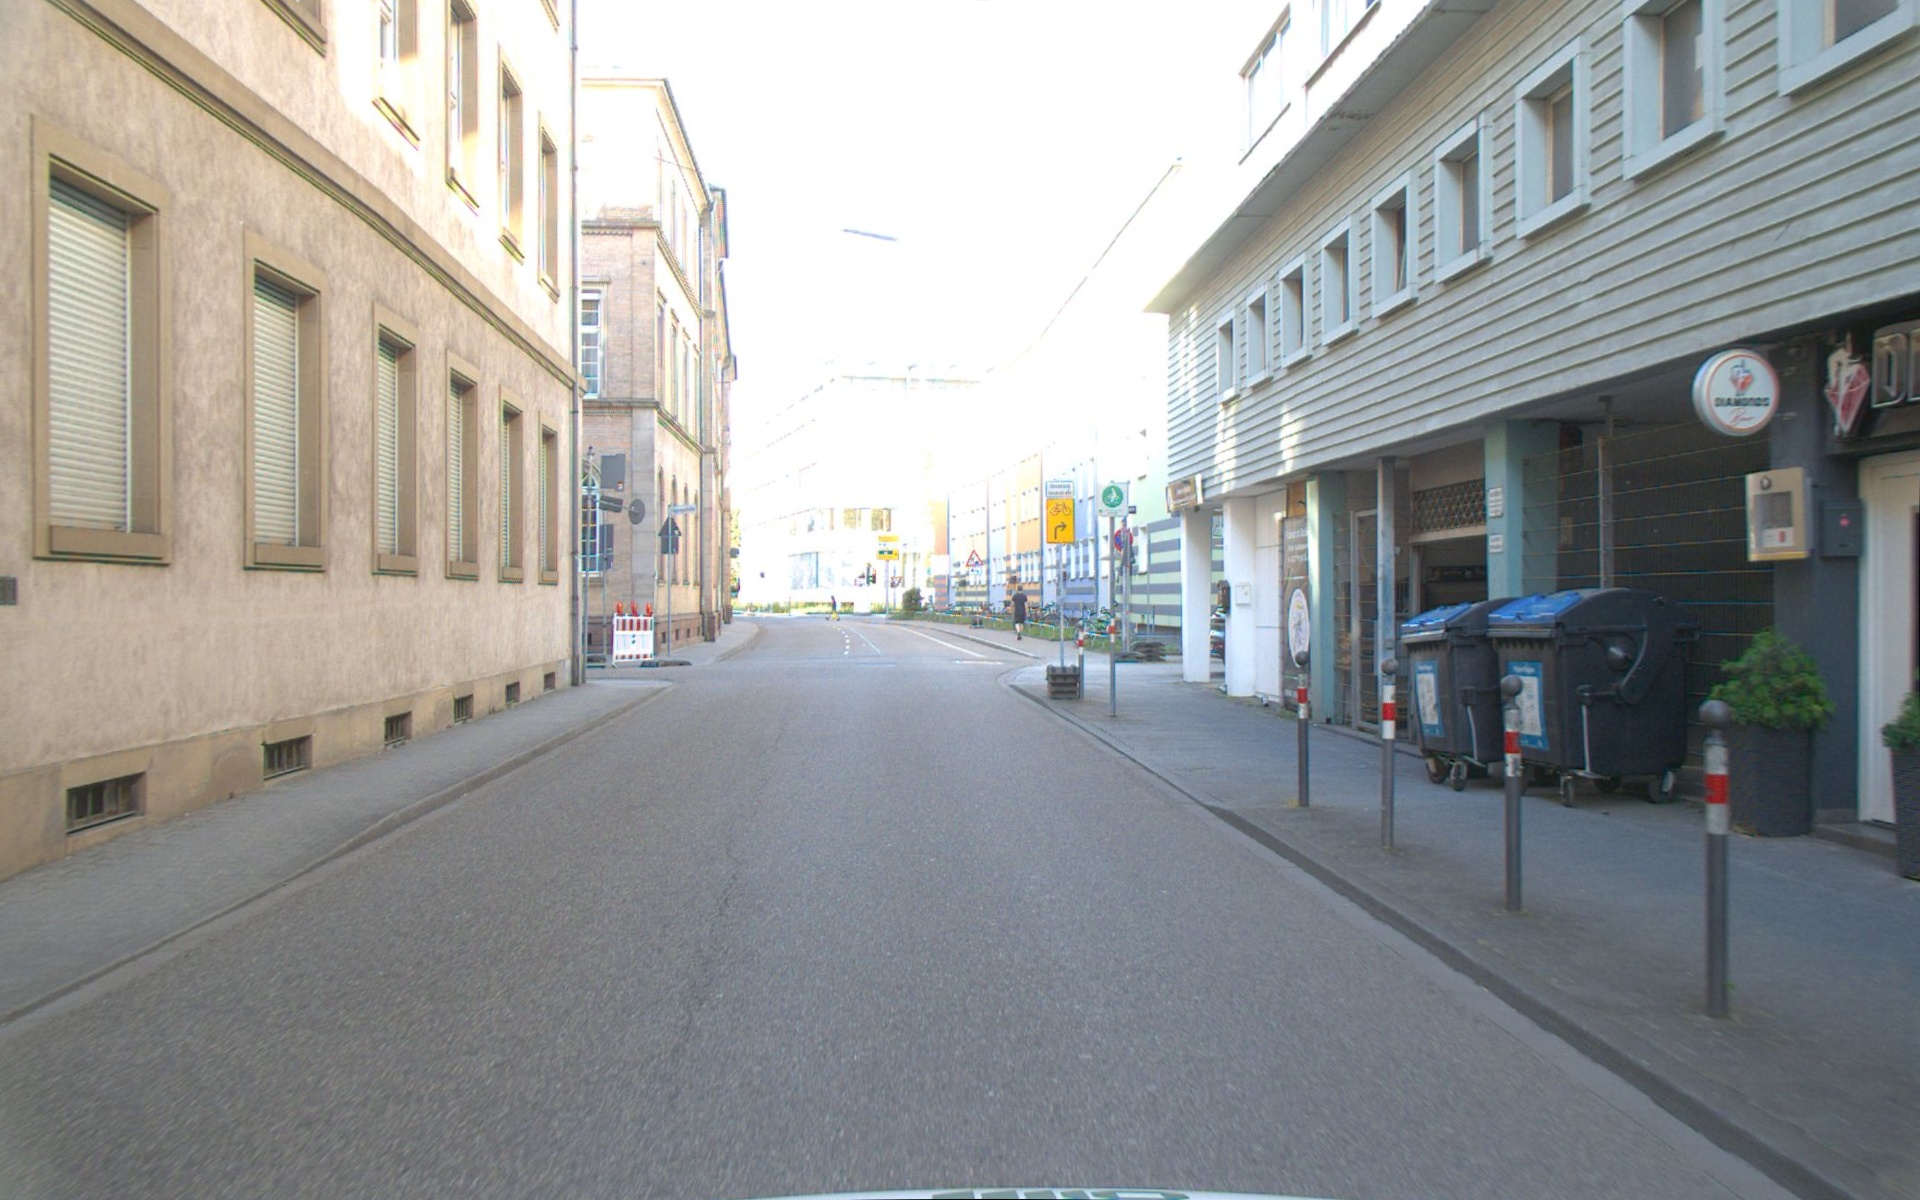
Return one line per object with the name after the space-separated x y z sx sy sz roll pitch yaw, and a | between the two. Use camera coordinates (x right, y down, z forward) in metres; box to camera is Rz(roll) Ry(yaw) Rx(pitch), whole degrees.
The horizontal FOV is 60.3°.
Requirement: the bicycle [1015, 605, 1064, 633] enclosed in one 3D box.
2.955 0.699 61.499 1.714 0.963 0.551 -2 0 -6 | bicycle

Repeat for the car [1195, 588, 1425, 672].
6.743 0.553 32.099 3.999 1.508 1.863 -1 0 -5 | car

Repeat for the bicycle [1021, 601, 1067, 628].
3.222 0.559 63.253 1.714 0.963 0.325 -2 0 -5 | bicycle

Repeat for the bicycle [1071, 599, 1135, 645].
4.109 0.627 47.653 1.715 1.161 0.551 -4 1 -6 | bicycle

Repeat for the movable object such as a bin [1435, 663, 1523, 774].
4.480 1.017 14.300 0.545 0.915 0.523 -2 -2 -3 | movable object such as a bin

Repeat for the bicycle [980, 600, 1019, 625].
1.858 0.583 78.247 1.776 1.157 0.551 -1 0 -7 | bicycle

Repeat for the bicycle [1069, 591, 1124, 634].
4.081 0.381 49.333 1.575 1.161 0.236 -4 1 -14 | bicycle

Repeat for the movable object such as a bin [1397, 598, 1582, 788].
4.232 0.731 13.325 0.961 1.409 1.320 -2 -2 -3 | movable object such as a bin

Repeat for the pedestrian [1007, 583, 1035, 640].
2.010 0.370 54.552 0.683 1.790 1.187 -3 0 -5 | pedestrian

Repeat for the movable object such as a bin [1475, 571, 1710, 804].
4.442 0.603 11.760 0.961 1.506 1.550 -2 -2 -3 | movable object such as a bin

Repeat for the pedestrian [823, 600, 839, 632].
-8.562 1.054 109.783 0.880 2.049 0.750 -1 0 -13 | pedestrian

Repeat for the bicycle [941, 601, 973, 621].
-0.168 0.616 92.212 1.722 1.021 0.612 -2 0 -10 | bicycle

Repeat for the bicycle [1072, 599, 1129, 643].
4.162 0.622 49.076 1.613 1.161 0.282 -4 1 -14 | bicycle

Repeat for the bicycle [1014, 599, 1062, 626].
2.928 0.474 62.228 1.714 0.963 0.551 -2 0 -6 | bicycle
